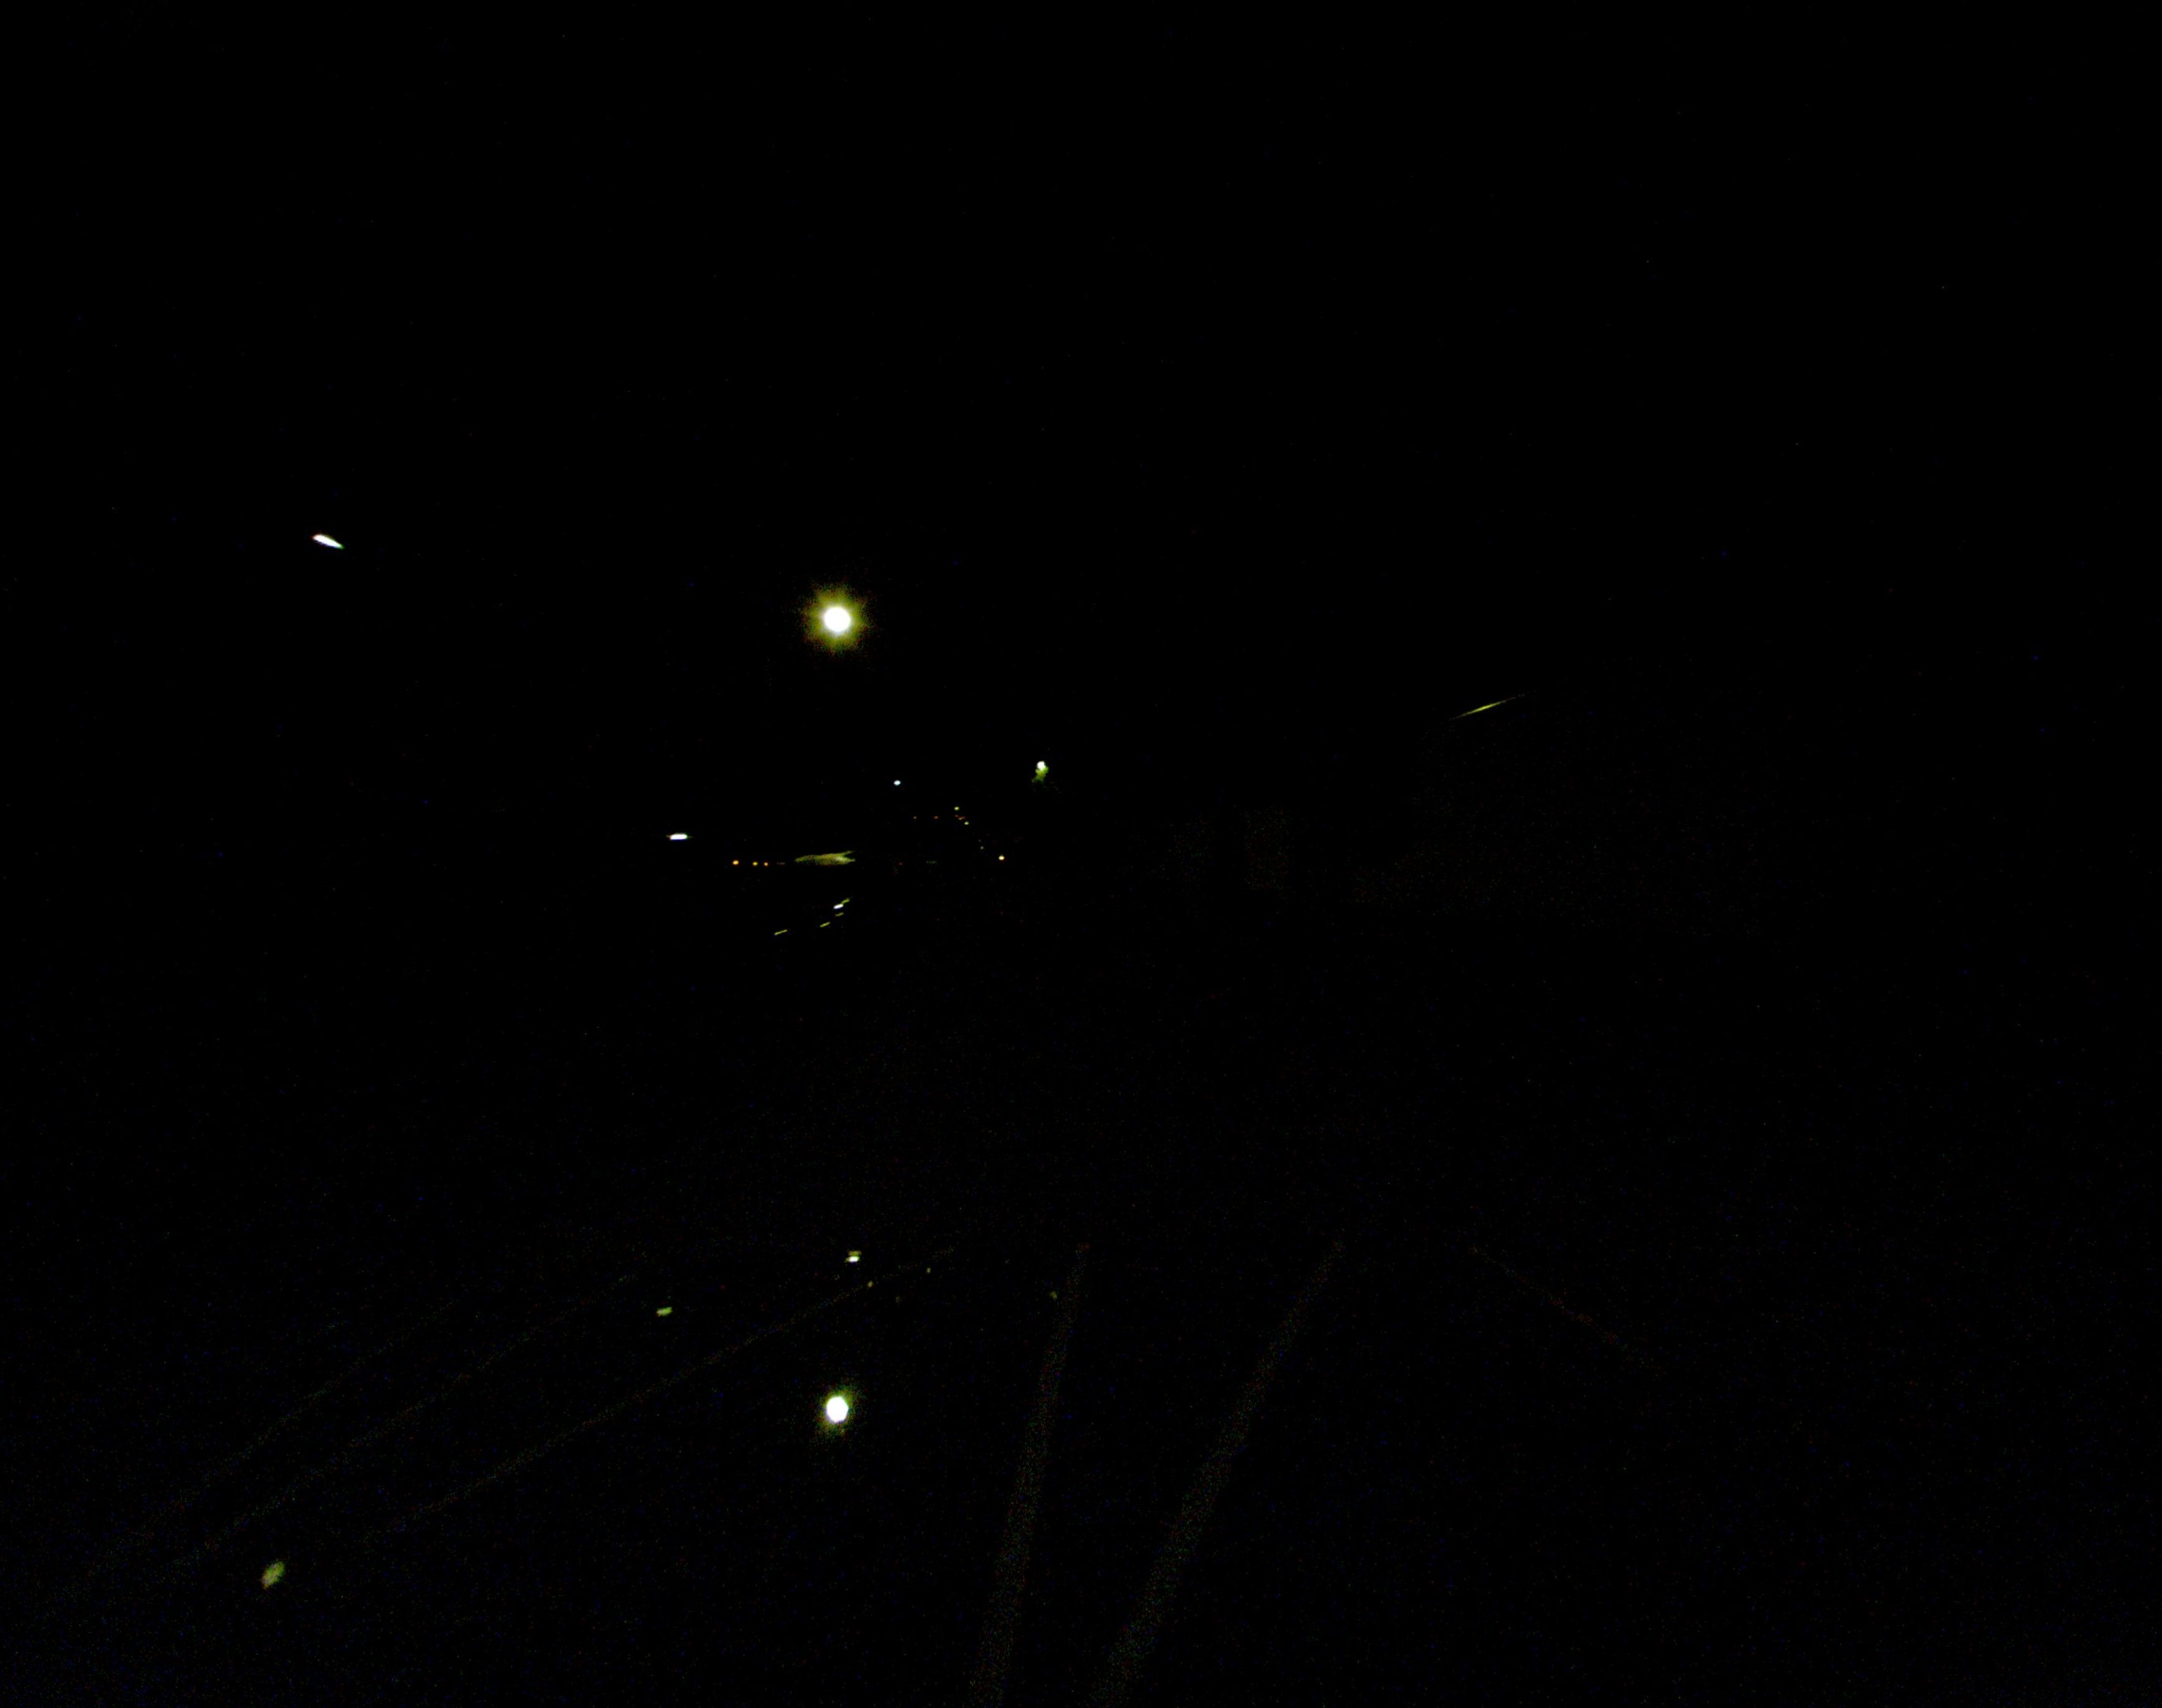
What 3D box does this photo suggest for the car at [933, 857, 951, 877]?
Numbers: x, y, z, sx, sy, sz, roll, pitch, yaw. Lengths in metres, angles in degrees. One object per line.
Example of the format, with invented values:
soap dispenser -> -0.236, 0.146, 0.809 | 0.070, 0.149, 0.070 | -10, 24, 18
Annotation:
car -> -17.310, 1.600, 94.764 | 1.865, 2.373, 3.998 | -2, 0, -5

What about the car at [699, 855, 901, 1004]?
car -> -4.059, 0.953, 11.788 | 1.734, 1.769, 4.314 | -3, 0, -4

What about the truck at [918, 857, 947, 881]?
truck -> -16.693, 1.620, 85.757 | 2.406, 2.555, 6.403 | -1, 0, -4

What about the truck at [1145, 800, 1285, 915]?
truck -> 3.640, 0.093, 22.425 | 2.000, 2.768, 7.239 | -2, 0, -7

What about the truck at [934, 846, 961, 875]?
truck -> -18.050, 0.841, 103.451 | 3.058, 3.602, 9.594 | -2, 0, -7

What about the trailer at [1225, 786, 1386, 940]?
trailer -> 4.406, 0.156, 15.634 | 2.002, 2.749, 3.999 | 0, 0, -2

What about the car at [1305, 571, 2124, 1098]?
car -> 5.135, -0.157, 8.371 | 2.389, 3.224, 7.227 | -2, 0, -6

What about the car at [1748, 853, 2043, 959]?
car -> 14.584, 0.826, 13.998 | 1.860, 1.630, 4.004 | -1, 0, 15

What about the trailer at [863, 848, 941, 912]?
trailer -> -6.445, 0.868, 26.965 | 1.497, 2.002, 4.975 | -2, 0, -27

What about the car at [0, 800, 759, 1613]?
car -> -3.778, 0.995, 3.880 | 1.999, 2.001, 5.355 | -5, -1, -2

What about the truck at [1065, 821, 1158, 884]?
truck -> 1.459, -0.069, 42.318 | 2.753, 3.047, 9.326 | -2, 0, -13

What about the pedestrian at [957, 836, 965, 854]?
pedestrian -> -32.351, -2.464, 204.354 | 1.744, 4.679, 2.301 | -2, 0, -4

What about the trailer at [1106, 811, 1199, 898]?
trailer -> 2.722, 0.016, 31.321 | 2.489, 3.055, 7.951 | -2, 0, -4
